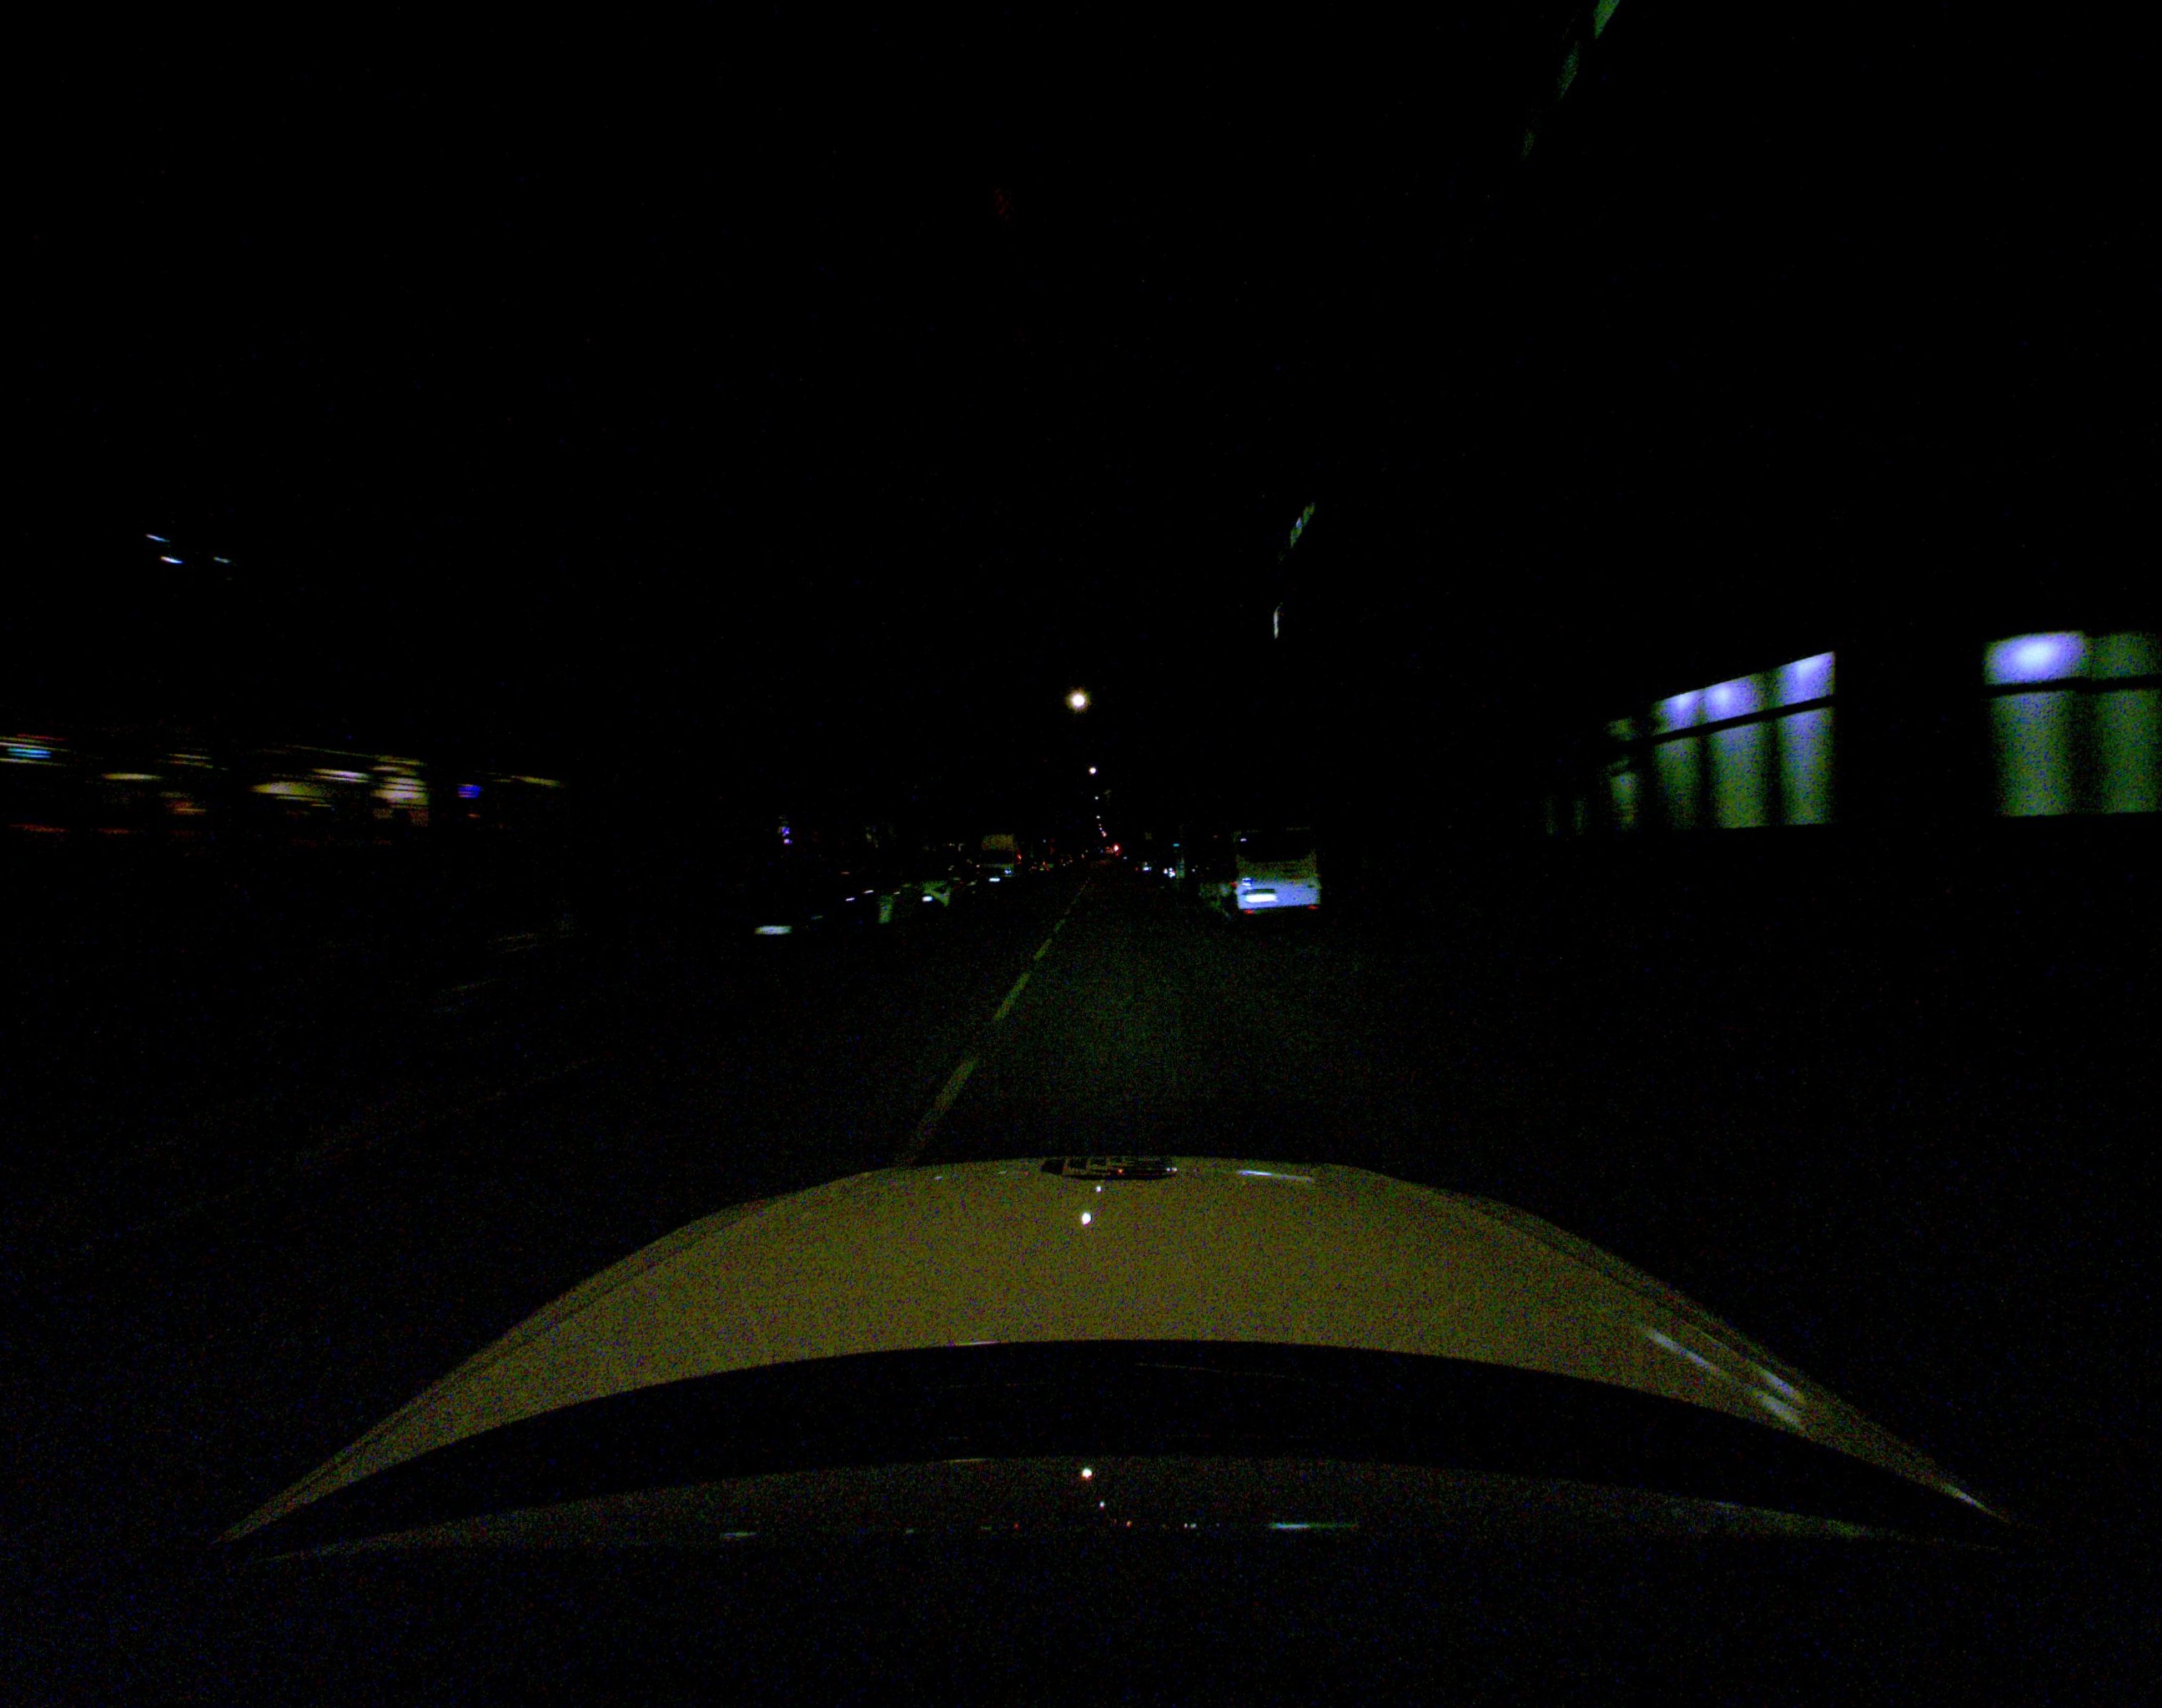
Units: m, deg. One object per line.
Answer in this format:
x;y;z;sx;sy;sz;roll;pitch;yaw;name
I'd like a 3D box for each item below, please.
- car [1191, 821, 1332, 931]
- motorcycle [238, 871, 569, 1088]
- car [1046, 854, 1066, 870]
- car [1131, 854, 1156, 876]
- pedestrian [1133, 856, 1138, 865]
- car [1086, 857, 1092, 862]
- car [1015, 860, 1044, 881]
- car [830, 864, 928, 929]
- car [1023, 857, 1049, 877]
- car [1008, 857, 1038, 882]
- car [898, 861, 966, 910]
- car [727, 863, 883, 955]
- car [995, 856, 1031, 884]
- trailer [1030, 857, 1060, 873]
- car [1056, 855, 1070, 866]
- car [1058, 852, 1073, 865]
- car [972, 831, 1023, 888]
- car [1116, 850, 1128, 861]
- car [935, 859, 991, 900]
3.719;0.412;17.661;1.944;1.964;4.603;-3;0;0;car
-5.282;0.919;6.494;1.907;1.550;0.635;0;-1;-18;motorcycle
-2.717;0.852;88.127;1.815;1.599;4.076;1;0;3;car
4.602;0.756;59.805;1.661;1.429;4.152;-4;0;4;car
10.394;1.236;155.067;0.703;1.721;0.822;-3;-1;2;pedestrian
2.345;1.571;238.019;1.734;1.416;3.754;-1;0;2;car
-3.746;1.183;60.168;1.698;1.411;4.634;-1;0;1;car
-5.035;0.999;20.745;1.439;1.429;3.904;1;0;1;car
-3.603;1.036;65.556;1.710;1.502;4.206;1;0;1;car
-3.861;1.006;54.901;1.736;1.606;4.297;-1;0;0;car
-4.804;0.993;26.680;1.542;1.455;3.369;0;0;1;car
-5.175;0.960;15.833;1.636;1.504;3.904;0;0;1;car
-4.068;0.949;49.254;1.736;1.606;4.116;0;0;0;car
-3.184;0.941;73.155;2.102;1.335;5.439;1;0;3;trailer
-2.405;0.912;109.799;1.693;1.433;3.831;1;0;3;car
-2.181;0.624;117.869;1.815;1.811;4.213;1;0;3;car
-4.401;0.271;43.783;2.171;2.909;4.910;0;0;1;car
6.587;0.259;130.514;1.846;1.654;4.211;-4;0;2;car
-4.716;0.982;32.925;1.640;1.505;3.861;1;0;1;car
